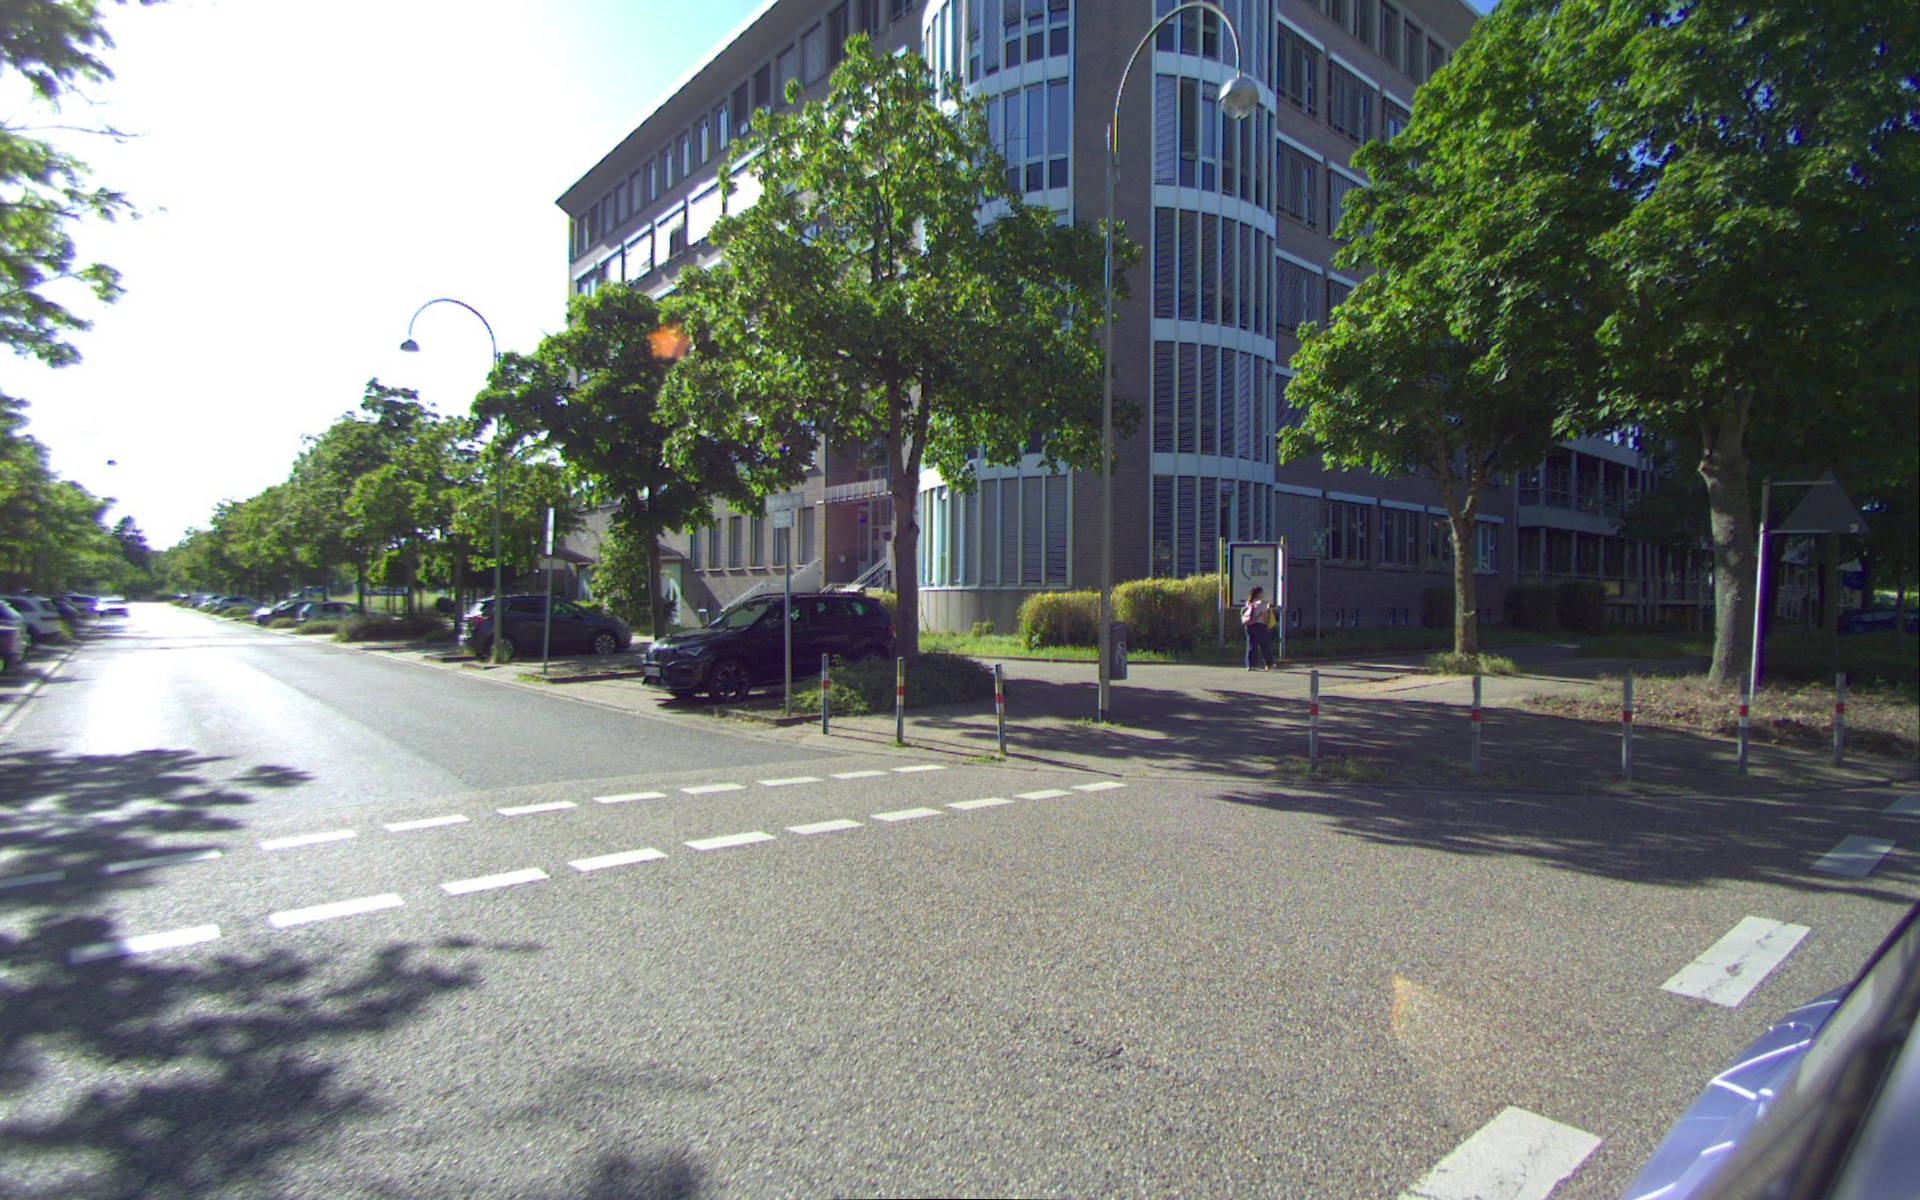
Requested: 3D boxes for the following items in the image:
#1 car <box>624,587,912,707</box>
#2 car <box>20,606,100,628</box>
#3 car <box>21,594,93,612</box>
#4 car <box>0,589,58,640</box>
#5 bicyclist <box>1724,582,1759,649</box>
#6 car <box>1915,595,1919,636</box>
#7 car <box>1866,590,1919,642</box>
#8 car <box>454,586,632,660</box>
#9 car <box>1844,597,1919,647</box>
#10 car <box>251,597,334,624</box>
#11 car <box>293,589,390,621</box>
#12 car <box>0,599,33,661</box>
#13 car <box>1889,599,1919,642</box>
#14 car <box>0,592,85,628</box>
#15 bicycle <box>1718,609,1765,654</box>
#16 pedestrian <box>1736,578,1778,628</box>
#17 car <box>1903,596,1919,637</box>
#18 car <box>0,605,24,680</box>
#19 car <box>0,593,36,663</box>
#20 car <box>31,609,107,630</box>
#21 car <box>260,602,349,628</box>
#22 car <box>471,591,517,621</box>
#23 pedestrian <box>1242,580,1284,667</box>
[{"bbox_3d":[-2.984,0.647,16.361,4.294,1.585,1.739,-2,1,-43],"label":"car"},{"bbox_3d":[-55.425,1.049,62.401,3.565,1.260,1.420,3,-2,-41],"label":"car"},{"bbox_3d":[-65.928,0.204,73.964,3.842,1.260,1.533,1,0,-42],"label":"car"},{"bbox_3d":[-29.594,0.429,30.251,3.841,1.521,1.534,1,0,-41],"label":"car"},{"bbox_3d":[19.732,0.384,25.537,0.808,1.657,0.538,1,0,-40],"label":"bicyclist"},{"bbox_3d":[40.141,0.659,39.474,1.683,1.604,3.997,0,1,-38],"label":"car"},{"bbox_3d":[32.250,0.558,32.832,1.633,1.609,4.129,-2,4,-44],"label":"car"},{"bbox_3d":[-10.708,0.537,26.089,3.925,1.604,1.704,-3,2,-35],"label":"car"},{"bbox_3d":[28.836,0.691,29.773,1.627,1.387,4.120,0,2,-43],"label":"car"},{"bbox_3d":[-39.013,0.564,59.156,3.845,1.462,1.533,-1,1,-44],"label":"car"},{"bbox_3d":[-30.290,0.235,49.651,3.845,1.462,1.533,-1,1,-44],"label":"car"},{"bbox_3d":[-25.289,0.680,24.600,3.929,1.521,1.534,3,-2,-41],"label":"car"},{"bbox_3d":[35.652,0.806,35.695,1.633,1.479,4.129,0,2,-44],"label":"car"},{"bbox_3d":[-42.651,0.455,46.317,3.840,1.521,1.534,3,-2,-41],"label":"car"},{"bbox_3d":[19.728,0.769,25.531,1.885,1.092,0.535,1,0,-40],"label":"bicycle"},{"bbox_3d":[29.683,0.106,37.695,1.001,1.821,1.036,0,-2,-41],"label":"pedestrian"},{"bbox_3d":[37.600,0.677,37.244,1.806,1.536,4.129,1,1,-44],"label":"car"},{"bbox_3d":[-19.491,0.720,18.134,3.932,1.386,1.623,4,-4,-44],"label":"car"},{"bbox_3d":[-23.717,0.580,22.964,3.929,1.584,1.625,3,-2,-41],"label":"car"},{"bbox_3d":[-61.108,1.360,69.476,3.840,1.260,1.534,3,-2,-41],"label":"car"},{"bbox_3d":[-35.664,0.805,55.096,3.844,1.332,1.532,0,0,-44],"label":"car"},{"bbox_3d":[-24.453,0.297,53.026,1.507,1.462,3.909,-1,1,-35],"label":"car"},{"bbox_3d":[5.698,0.425,19.034,0.537,1.602,0.639,0,-1,40],"label":"pedestrian"}]
